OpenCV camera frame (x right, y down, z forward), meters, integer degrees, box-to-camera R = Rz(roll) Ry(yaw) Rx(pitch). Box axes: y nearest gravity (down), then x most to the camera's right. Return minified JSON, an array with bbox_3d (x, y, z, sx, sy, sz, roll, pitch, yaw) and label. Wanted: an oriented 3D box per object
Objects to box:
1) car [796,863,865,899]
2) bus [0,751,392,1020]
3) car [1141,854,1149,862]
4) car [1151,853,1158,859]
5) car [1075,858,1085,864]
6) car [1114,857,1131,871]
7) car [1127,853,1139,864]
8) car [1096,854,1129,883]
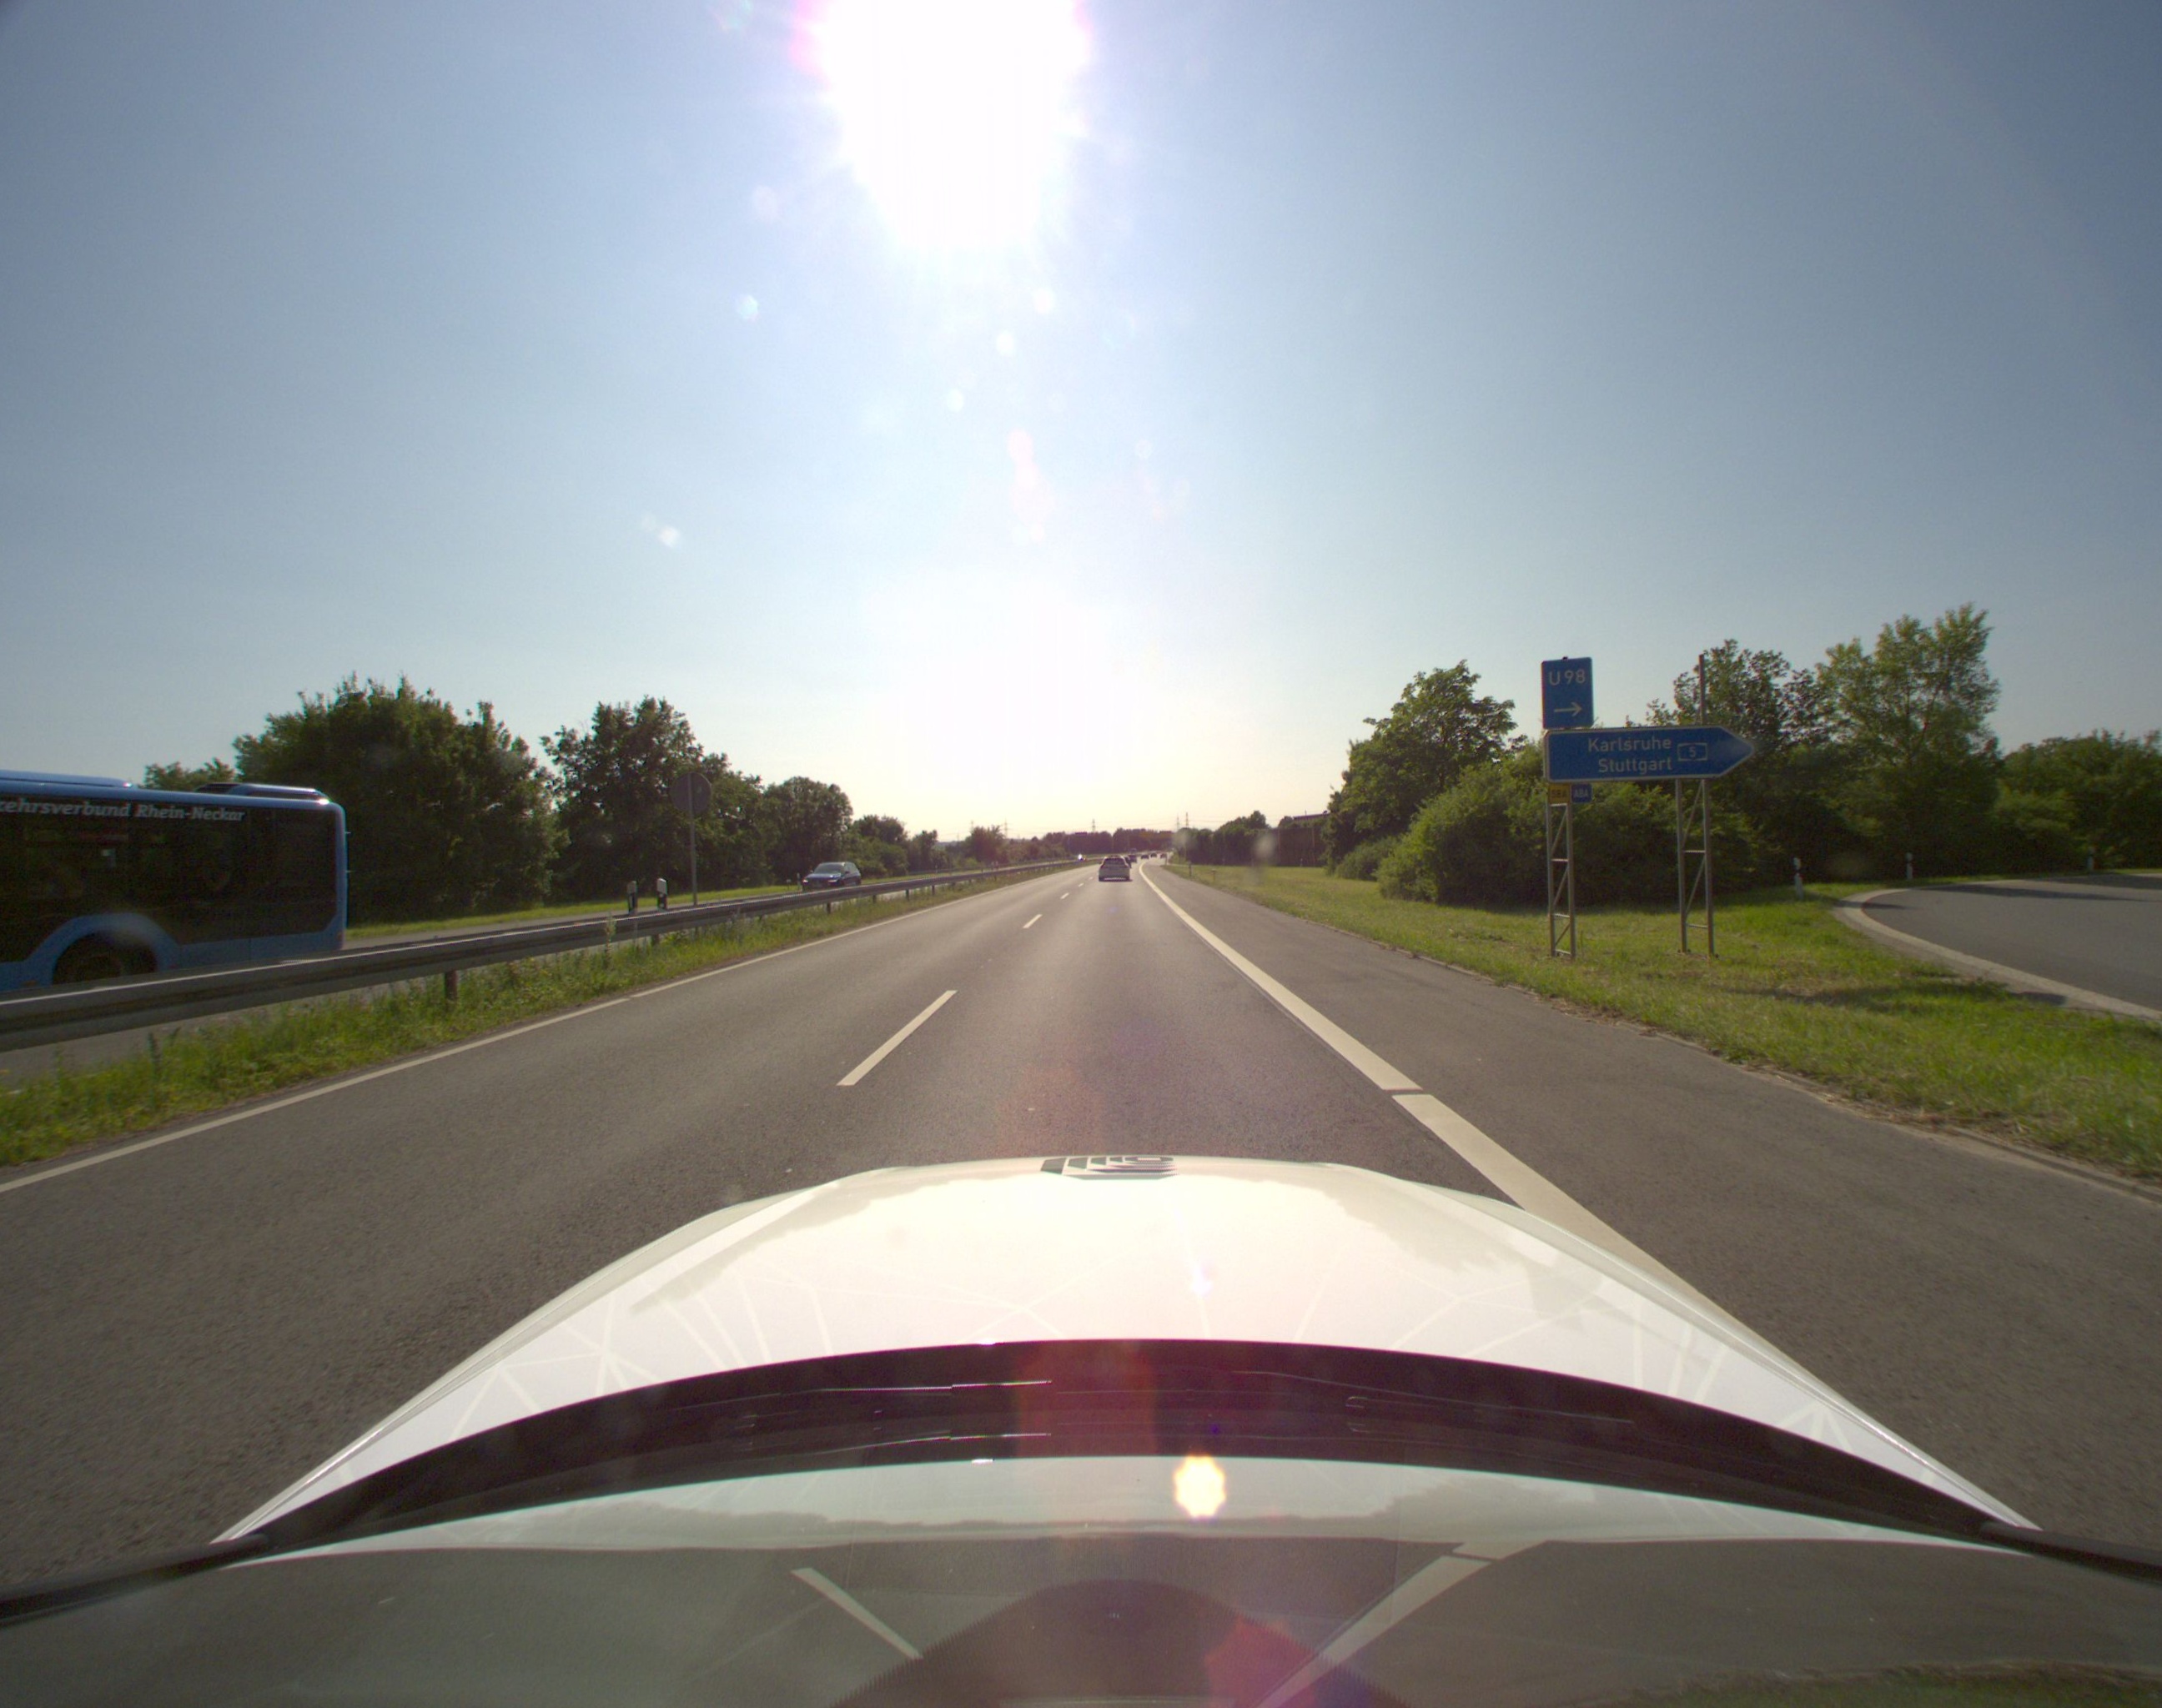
[{"bbox_3d":[-12.625,1.319,41.330,1.986,1.605,4.277,-1,1,2],"label":"car"},{"bbox_3d":[-13.857,0.409,10.384,2.715,3.110,8.396,-2,0,2],"label":"bus"},{"bbox_3d":[15.414,1.023,195.534,1.832,1.802,4.007,-1,0,6],"label":"car"},{"bbox_3d":[21.191,0.625,235.896,1.831,1.698,4.008,-1,0,7],"label":"car"},{"bbox_3d":[-0.249,1.563,182.999,1.801,1.351,4.279,-1,1,4],"label":"car"},{"bbox_3d":[4.826,1.118,93.944,1.785,1.543,3.676,-1,0,4],"label":"car"},{"bbox_3d":[8.798,0.793,137.750,1.760,1.736,3.637,-1,0,5],"label":"car"},{"bbox_3d":[1.926,0.834,49.734,1.950,1.601,4.110,-1,1,2],"label":"car"}]
